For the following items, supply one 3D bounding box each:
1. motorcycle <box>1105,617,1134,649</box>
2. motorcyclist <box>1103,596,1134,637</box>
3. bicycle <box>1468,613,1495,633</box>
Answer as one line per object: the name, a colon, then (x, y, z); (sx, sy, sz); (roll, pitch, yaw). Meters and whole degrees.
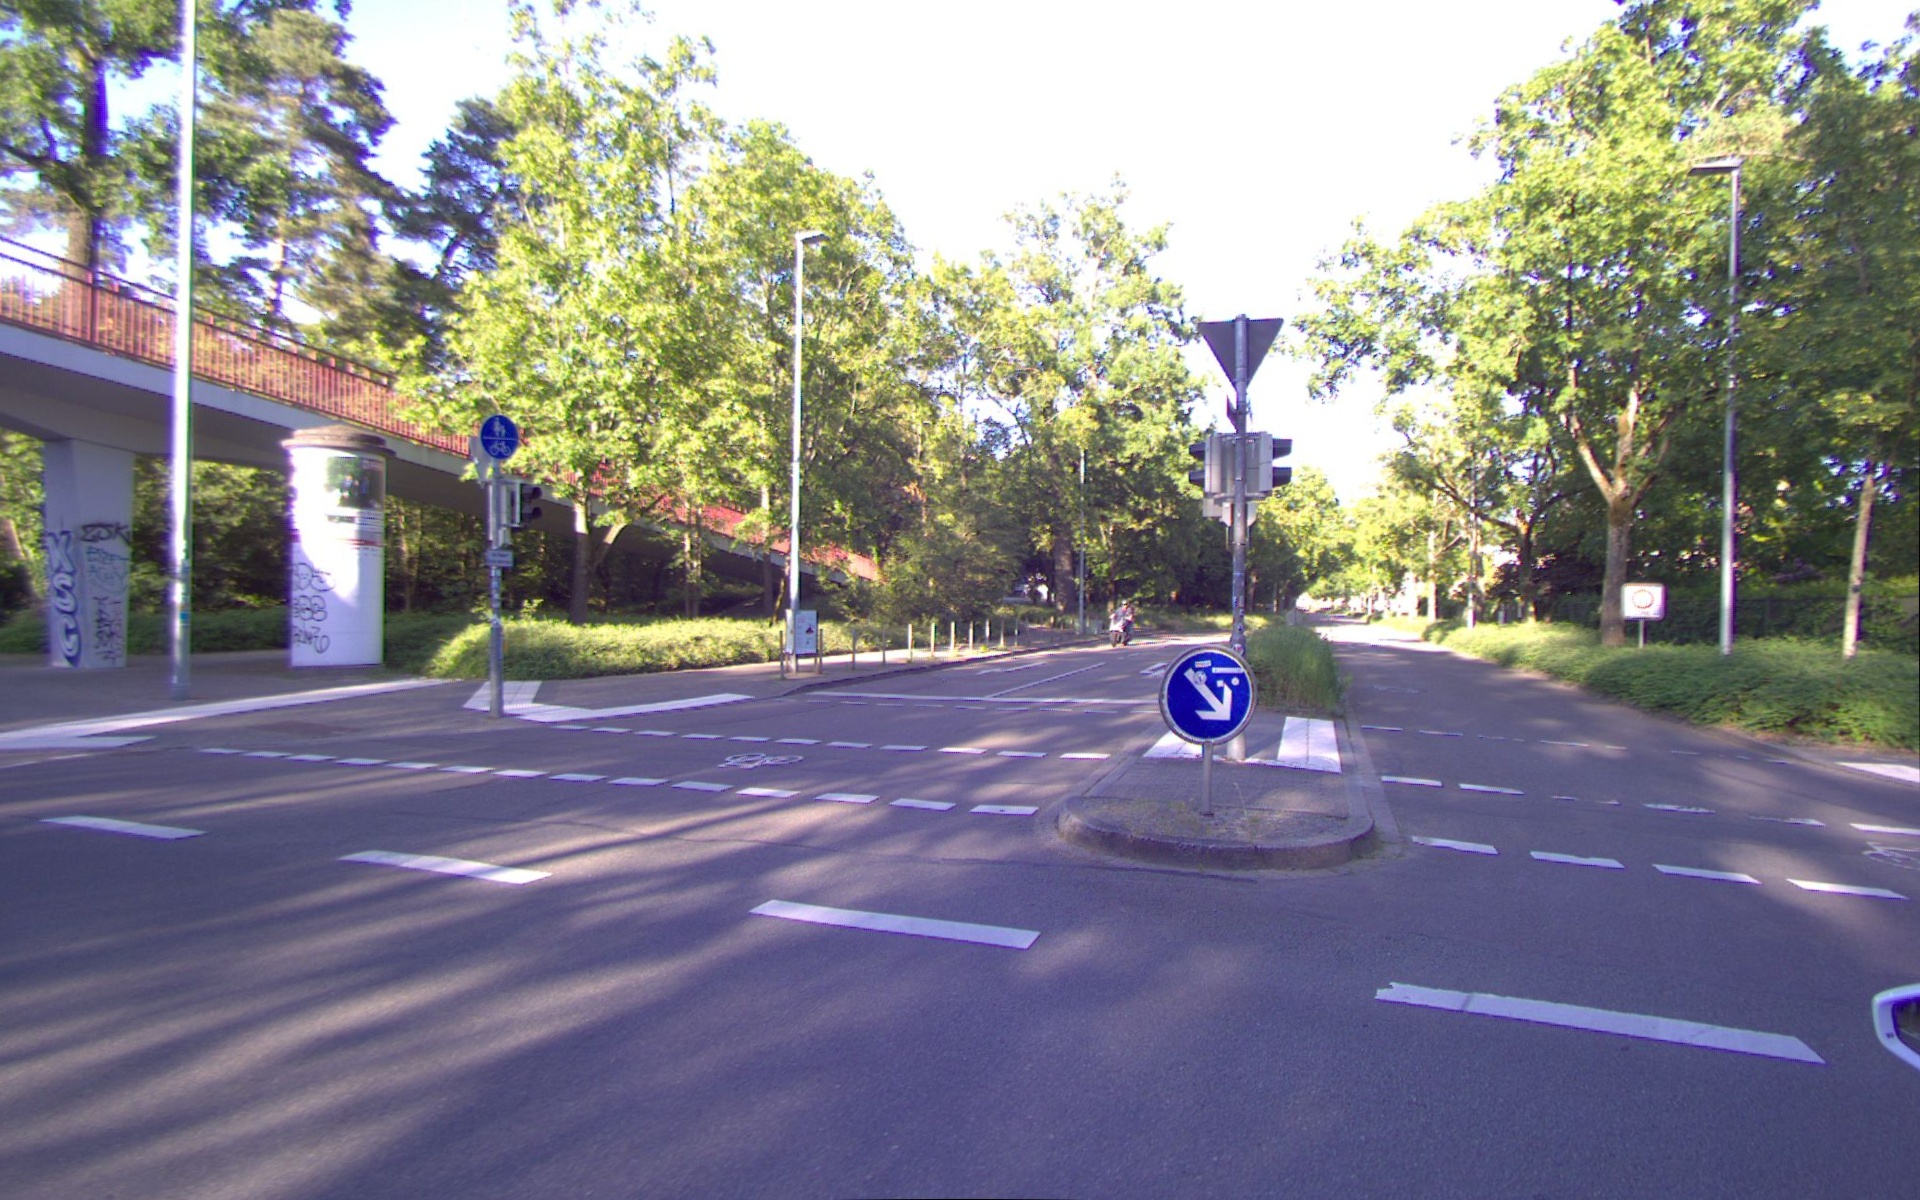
motorcycle: (5.874, 1.198, 36.911); (0.514, 1.083, 2.287); (1, 0, 22)
motorcyclist: (5.821, 0.592, 36.849); (0.933, 1.490, 1.069); (1, 0, 21)
bicycle: (32.712, 1.419, 63.030); (0.874, 1.216, 2.312); (-1, -1, 44)
